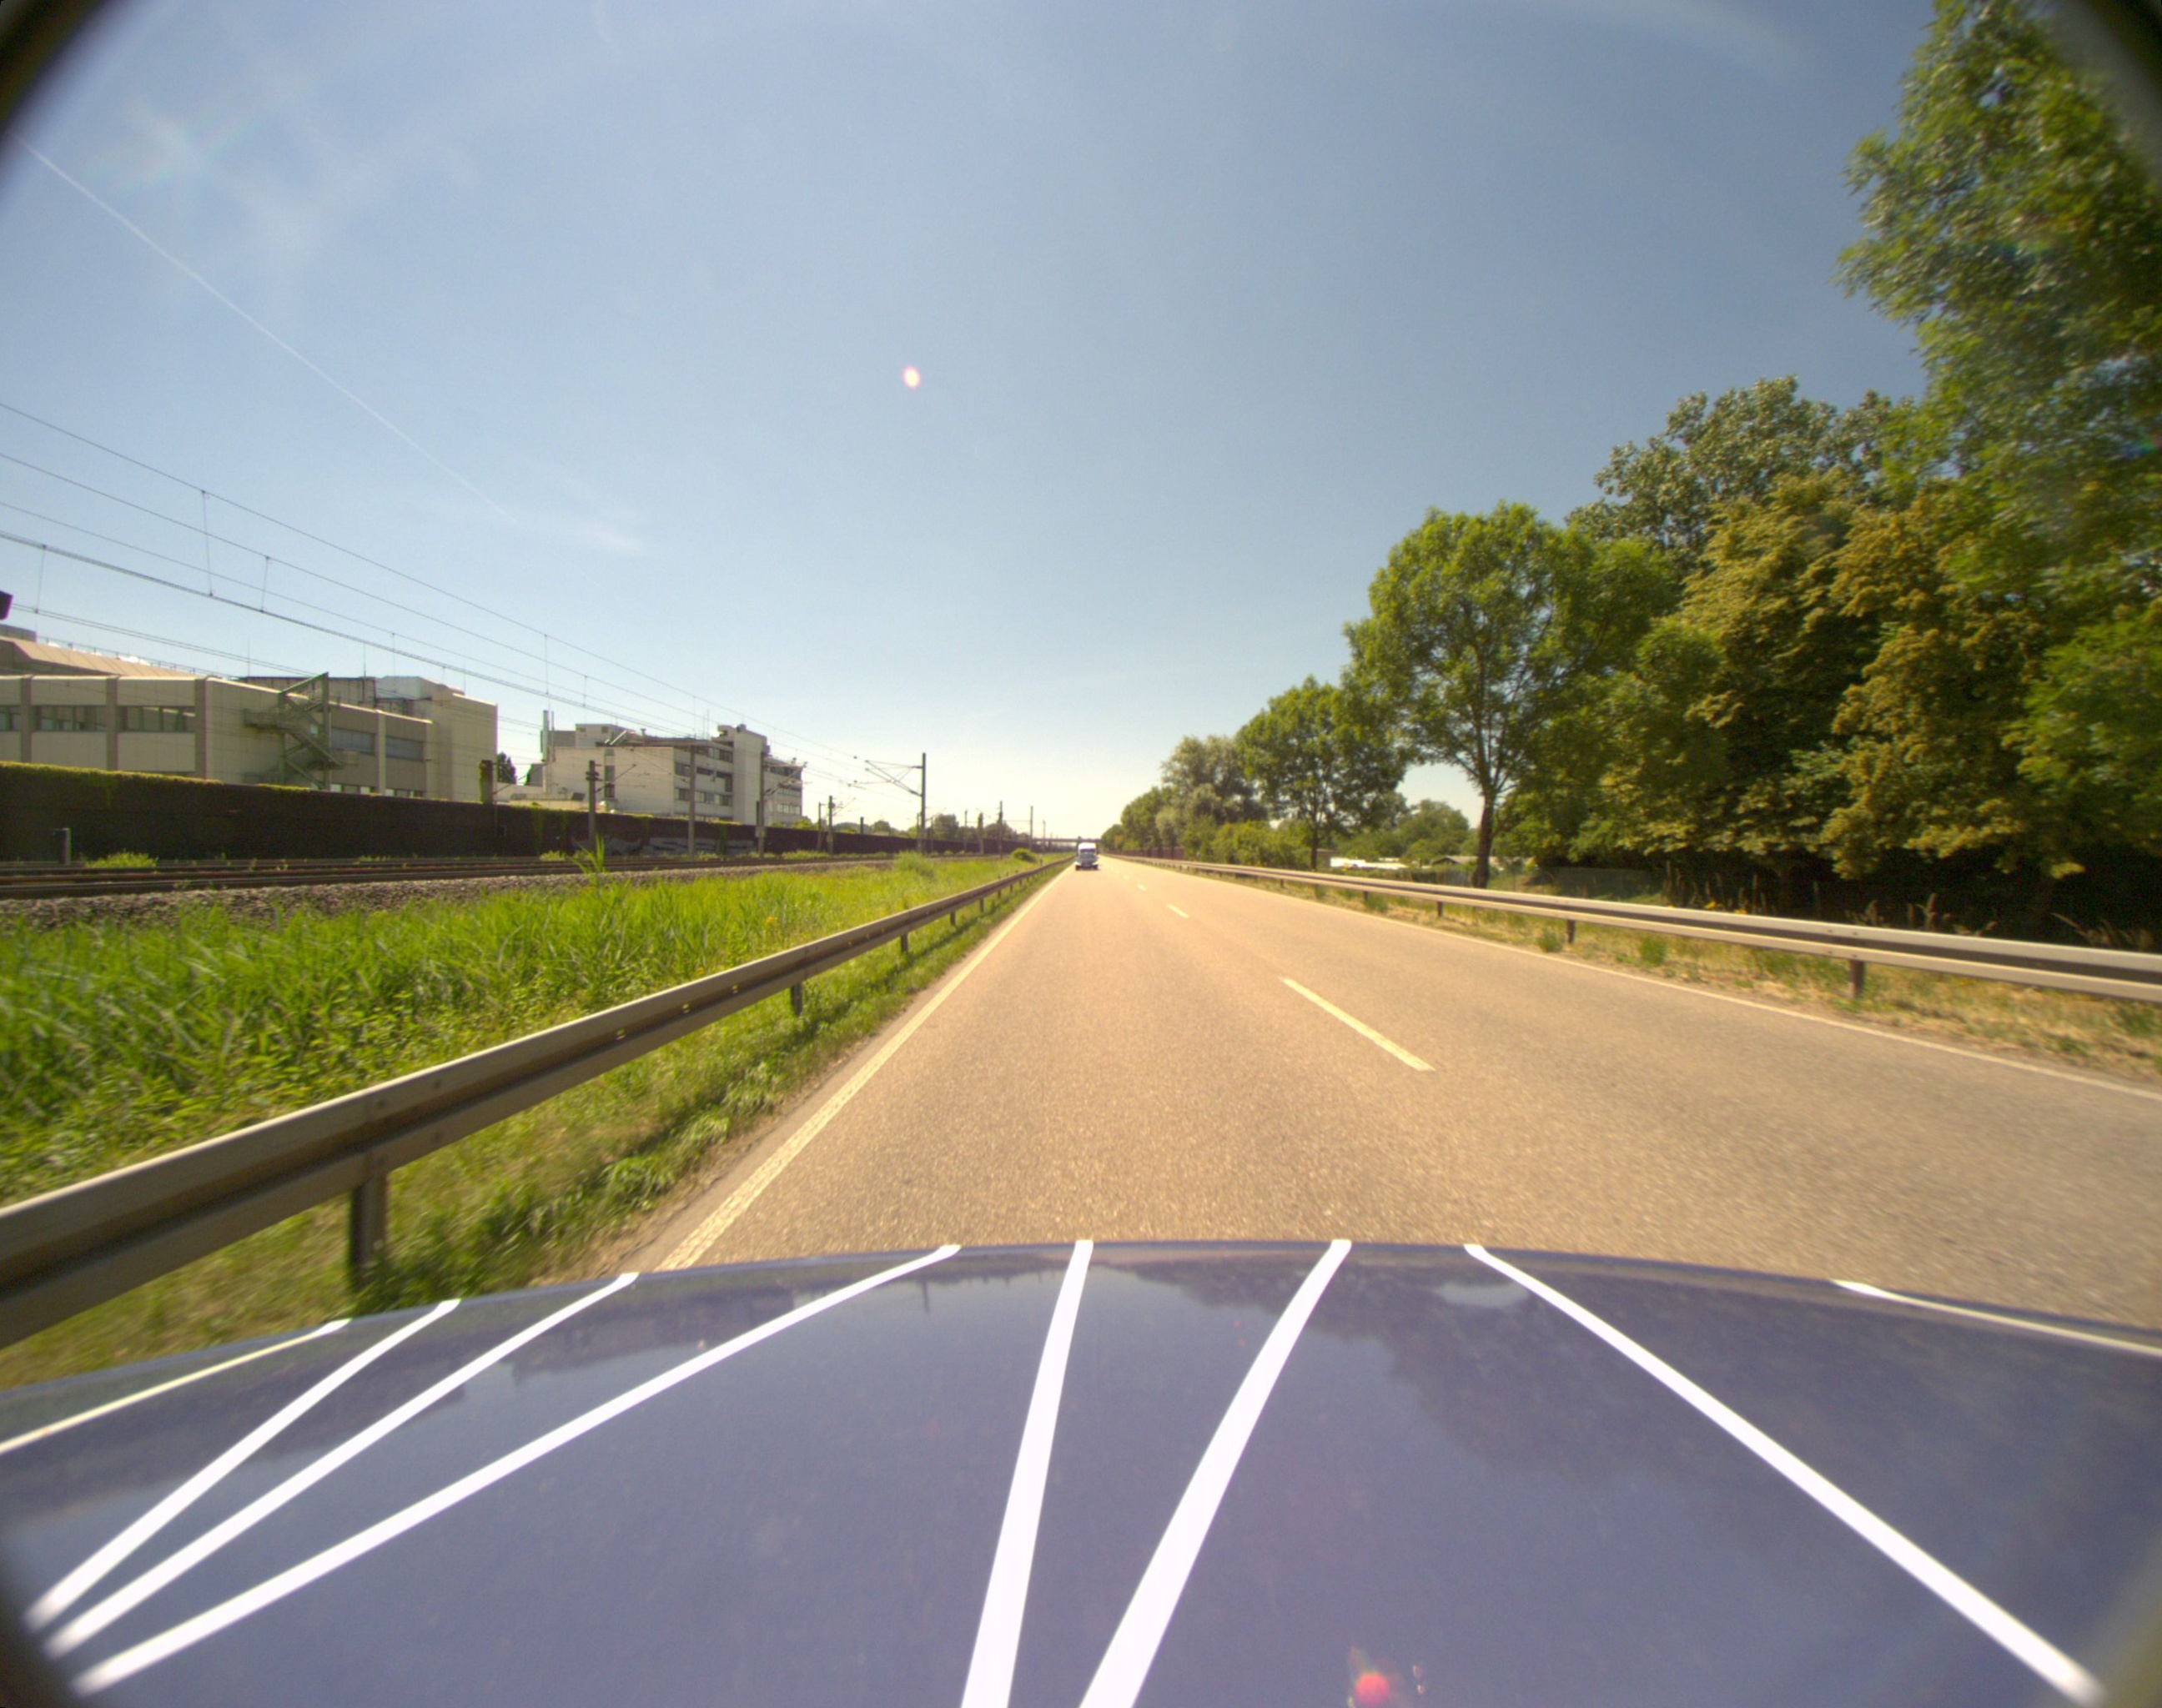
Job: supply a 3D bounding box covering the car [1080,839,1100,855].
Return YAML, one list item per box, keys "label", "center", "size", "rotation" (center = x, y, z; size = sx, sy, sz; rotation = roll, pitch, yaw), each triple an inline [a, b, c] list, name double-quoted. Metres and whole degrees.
- label: "car"
  center: [1.000, -0.751, 86.039]
  size: [2.161, 1.702, 4.492]
  rotation: [-2, 0, 0]

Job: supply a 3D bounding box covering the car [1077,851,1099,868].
- label: "car"
  center: [0.594, 0.425, 62.727]
  size: [1.758, 1.313, 4.000]
  rotation: [-2, 0, 0]
